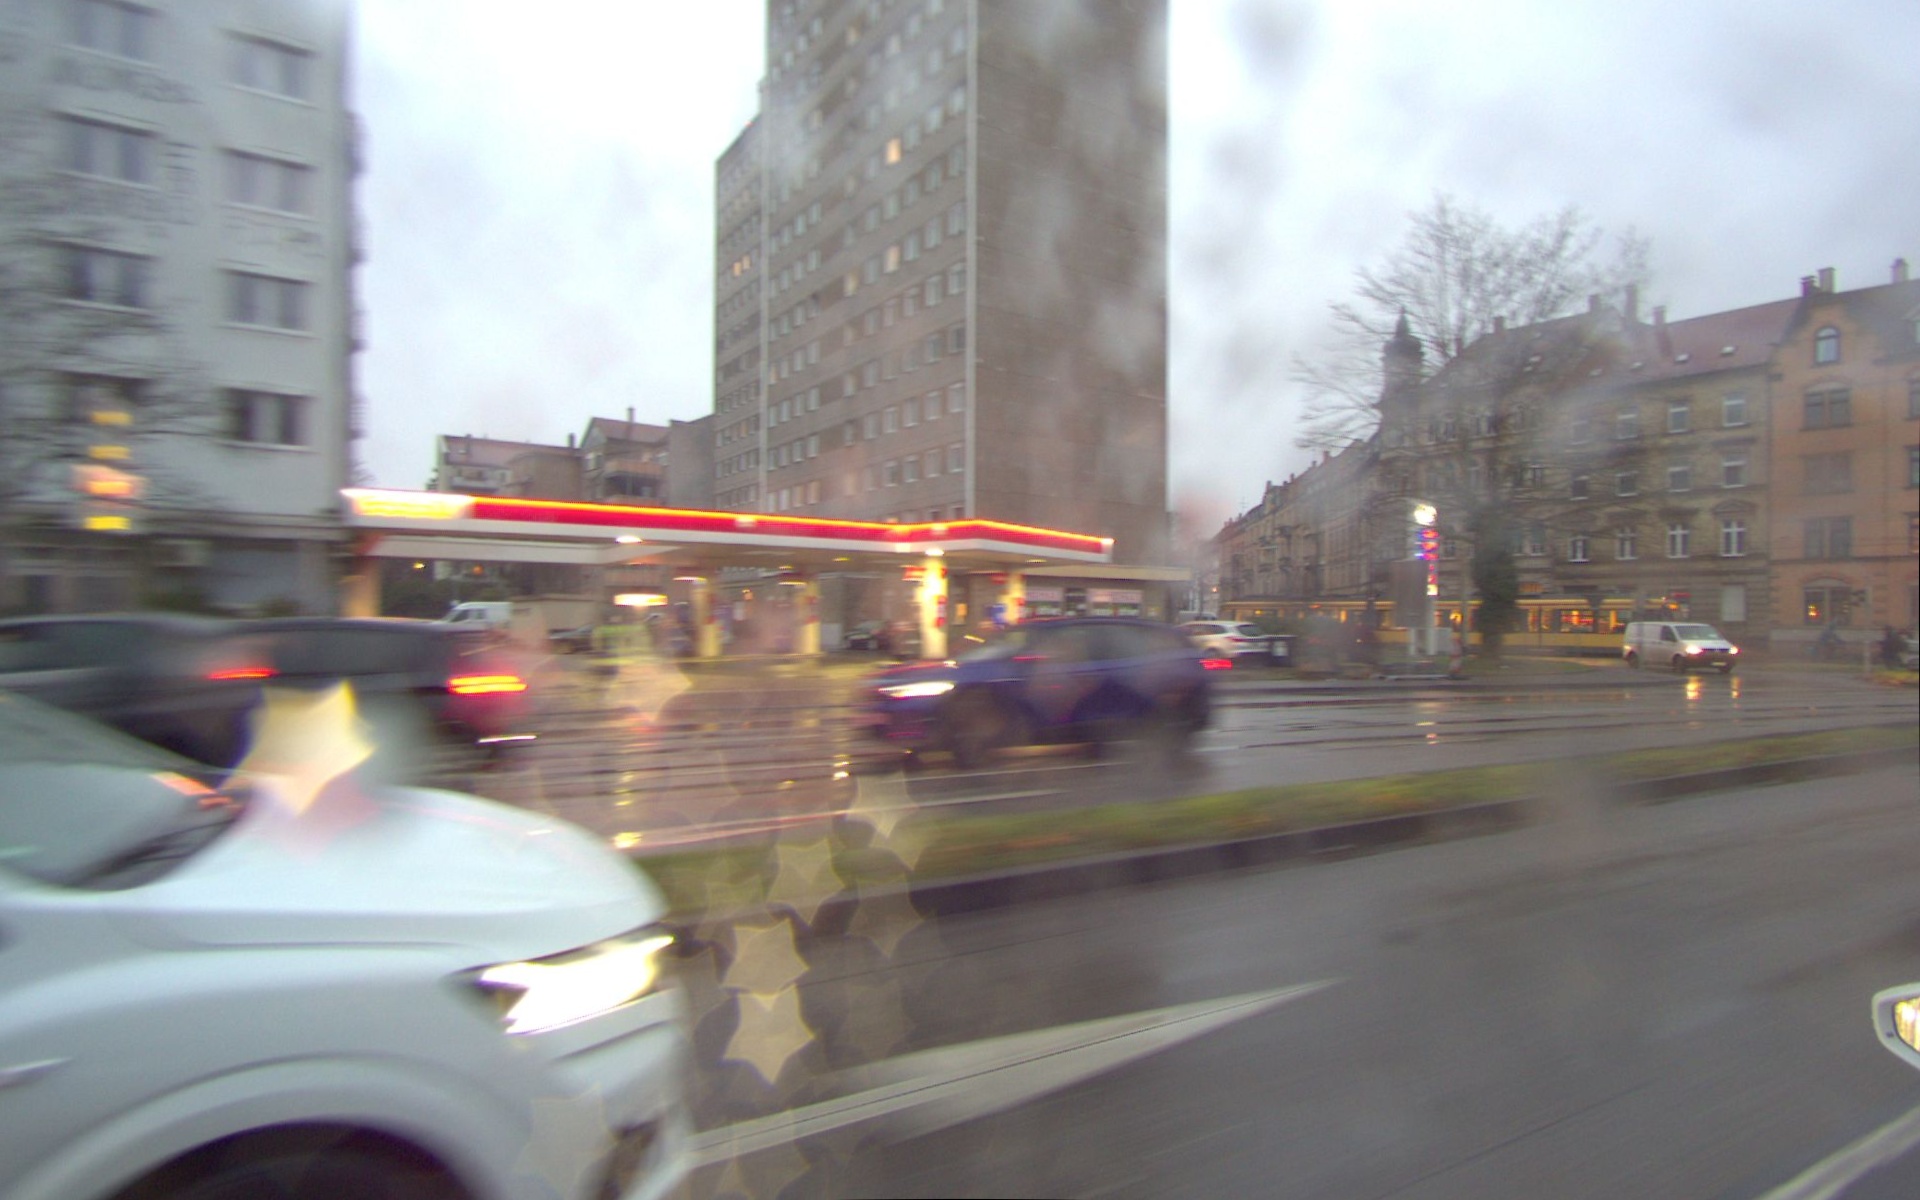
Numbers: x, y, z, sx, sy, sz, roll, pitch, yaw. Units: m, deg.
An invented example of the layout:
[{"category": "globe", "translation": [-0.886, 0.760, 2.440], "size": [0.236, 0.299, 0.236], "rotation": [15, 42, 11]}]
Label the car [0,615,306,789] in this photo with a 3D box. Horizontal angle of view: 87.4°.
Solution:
[{"category": "car", "translation": [-9.098, 0.958, 9.957], "size": [4.227, 1.587, 1.639], "rotation": [0, -1, -29]}]

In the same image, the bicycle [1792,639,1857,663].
[{"category": "bicycle", "translation": [35.241, 2.072, 40.960], "size": [1.951, 0.912, 0.505], "rotation": [0, 0, 32]}]

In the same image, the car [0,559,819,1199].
[{"category": "car", "translation": [-2.387, 0.707, 1.747], "size": [3.952, 1.506, 1.619], "rotation": [0, -1, -30]}]

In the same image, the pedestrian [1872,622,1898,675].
[{"category": "pedestrian", "translation": [32.445, 1.695, 35.243], "size": [0.528, 1.816, 0.620], "rotation": [0, 0, -43]}]

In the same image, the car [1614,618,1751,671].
[{"category": "car", "translation": [28.884, 1.800, 40.393], "size": [1.960, 1.971, 4.856], "rotation": [-1, -3, 0]}]

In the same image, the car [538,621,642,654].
[{"category": "car", "translation": [-16.241, 1.621, 44.080], "size": [3.958, 1.399, 1.944], "rotation": [1, -1, -34]}]

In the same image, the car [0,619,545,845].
[{"category": "car", "translation": [-5.636, 0.921, 8.128], "size": [4.093, 1.506, 1.639], "rotation": [0, -1, -29]}]

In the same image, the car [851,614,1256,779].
[{"category": "car", "translation": [1.153, 0.999, 11.830], "size": [4.597, 1.652, 1.640], "rotation": [0, -1, -26]}]

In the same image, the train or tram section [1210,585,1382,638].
[{"category": "train or tram section", "translation": [22.265, 0.661, 67.407], "size": [3.142, 3.280, 11.025], "rotation": [1, 0, -39]}]

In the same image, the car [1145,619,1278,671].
[{"category": "car", "translation": [8.032, 1.409, 32.327], "size": [1.763, 1.550, 3.959], "rotation": [1, -1, -36]}]

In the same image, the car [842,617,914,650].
[{"category": "car", "translation": [-4.092, 1.652, 49.672], "size": [1.978, 1.550, 3.965], "rotation": [1, -1, -32]}]

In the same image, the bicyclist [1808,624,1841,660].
[{"category": "bicyclist", "translation": [35.247, 1.711, 40.957], "size": [0.952, 1.409, 0.505], "rotation": [0, 0, 32]}]

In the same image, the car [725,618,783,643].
[{"category": "car", "translation": [-15.250, 2.247, 74.325], "size": [3.939, 1.751, 1.991], "rotation": [1, -1, -20]}]

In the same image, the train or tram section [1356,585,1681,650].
[{"category": "train or tram section", "translation": [30.746, 0.802, 56.851], "size": [3.142, 3.231, 16.124], "rotation": [1, 0, -39]}]
